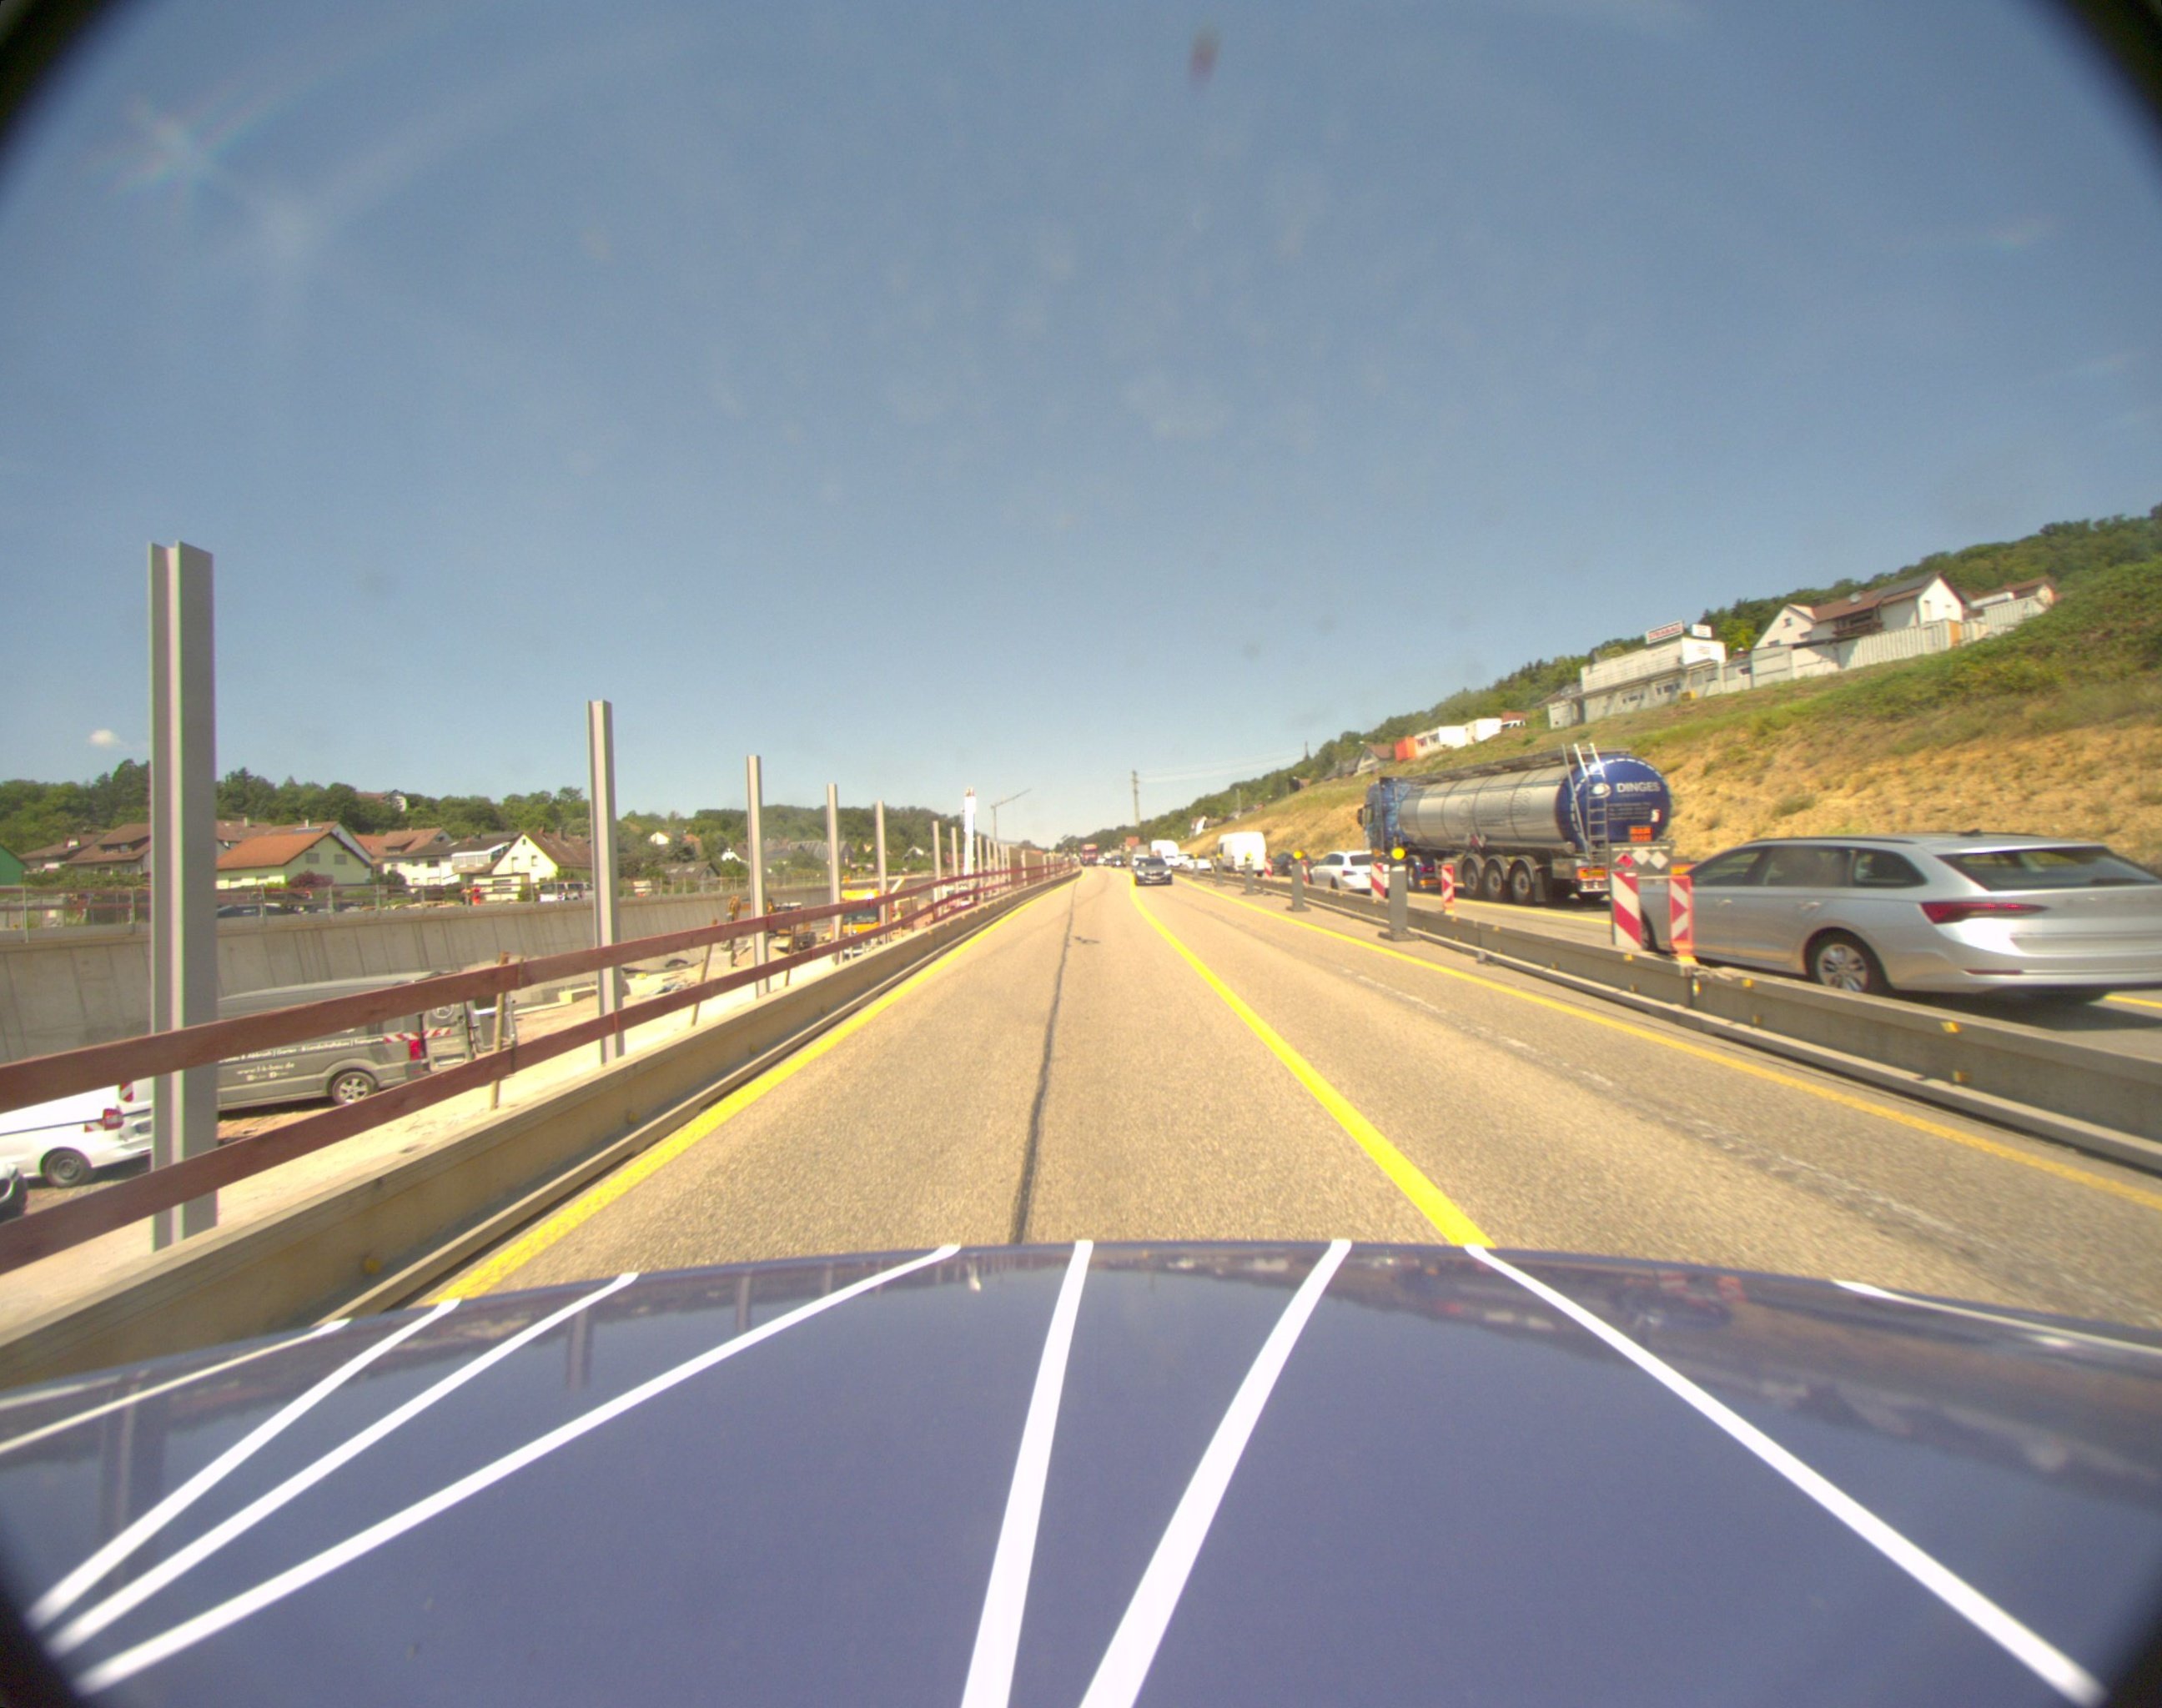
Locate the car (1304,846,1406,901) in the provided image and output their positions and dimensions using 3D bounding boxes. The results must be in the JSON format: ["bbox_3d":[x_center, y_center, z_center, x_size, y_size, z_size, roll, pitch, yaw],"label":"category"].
[{"bbox_3d":[8.595,0.555,24.289,1.837,1.510,4.845,-2,0,5],"label":"car"}]

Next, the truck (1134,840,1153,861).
[{"bbox_3d":[12.752,-0.812,156.753,3.148,4.023,10.210,-2,1,1],"label":"truck"}]

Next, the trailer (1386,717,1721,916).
[{"bbox_3d":[11.607,-0.808,20.669,2.605,3.848,11.275,-2,1,4],"label":"trailer"}]

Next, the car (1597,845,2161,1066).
[{"bbox_3d":[7.283,0.671,7.300,1.837,1.421,4.536,-2,0,5],"label":"car"}]

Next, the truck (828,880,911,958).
[{"bbox_3d":[-10.696,3.192,39.013,2.504,3.385,5.436,-2,1,1],"label":"truck"}]

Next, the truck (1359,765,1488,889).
[{"bbox_3d":[12.014,-0.898,27.066,2.588,3.954,4.589,-2,1,3],"label":"truck"}]

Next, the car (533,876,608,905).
[{"bbox_3d":[-32.991,2.317,49.272,1.658,1.594,4.605,-2,1,0],"label":"car"}]

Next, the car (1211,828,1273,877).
[{"bbox_3d":[9.484,-0.100,45.417,2.211,2.614,6.627,-2,0,0],"label":"car"}]

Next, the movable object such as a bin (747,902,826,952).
[{"bbox_3d":[-19.258,4.744,49.912,3.266,2.769,4.001,-2,1,6],"label":"movable object such as a bin"}]

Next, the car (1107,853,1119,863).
[{"bbox_3d":[5.373,0.666,128.130,1.801,1.542,4.000,-3,-1,-1],"label":"car"}]

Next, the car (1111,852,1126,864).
[{"bbox_3d":[5.130,0.585,104.377,1.801,1.542,4.000,-3,-1,-1],"label":"car"}]

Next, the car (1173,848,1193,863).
[{"bbox_3d":[12.208,0.186,91.251,1.838,1.626,4.389,-2,0,0],"label":"car"}]

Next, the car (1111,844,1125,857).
[{"bbox_3d":[8.986,-0.811,184.582,2.926,2.863,6.696,-2,0,0],"label":"car"}]

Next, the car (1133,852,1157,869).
[{"bbox_3d":[5.707,0.570,68.167,1.838,1.465,4.390,-2,0,2],"label":"car"}]

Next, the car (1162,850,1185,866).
[{"bbox_3d":[9.816,0.405,80.740,1.838,1.626,4.389,-2,0,0],"label":"car"}]

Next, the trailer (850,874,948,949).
[{"bbox_3d":[-10.579,3.154,45.878,2.446,3.333,12.893,-2,1,1],"label":"trailer"}]

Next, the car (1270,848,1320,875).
[{"bbox_3d":[12.995,0.418,46.391,1.838,1.482,4.389,-2,0,1],"label":"car"}]

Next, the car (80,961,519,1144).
[{"bbox_3d":[-16.247,4.038,16.270,6.308,2.566,2.053,-5,-1,-13],"label":"car"}]

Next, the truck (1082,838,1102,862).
[{"bbox_3d":[2.103,-0.782,141.382,3.463,4.023,10.210,-2,1,1],"label":"truck"}]

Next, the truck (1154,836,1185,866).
[{"bbox_3d":[12.835,-0.448,111.155,3.115,4.023,13.156,-2,1,1],"label":"truck"}]

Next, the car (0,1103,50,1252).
[{"bbox_3d":[-16.283,4.370,9.364,4.801,1.758,1.720,-4,-1,1],"label":"car"}]

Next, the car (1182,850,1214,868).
[{"bbox_3d":[9.250,0.376,60.278,1.838,1.368,4.389,-2,0,0],"label":"car"}]

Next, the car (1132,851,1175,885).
[{"bbox_3d":[3.627,0.673,38.771,1.838,1.587,4.390,-2,0,2],"label":"car"}]

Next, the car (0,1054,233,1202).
[{"bbox_3d":[-16.840,4.476,12.357,3.871,1.676,1.692,-4,0,-4],"label":"car"}]
